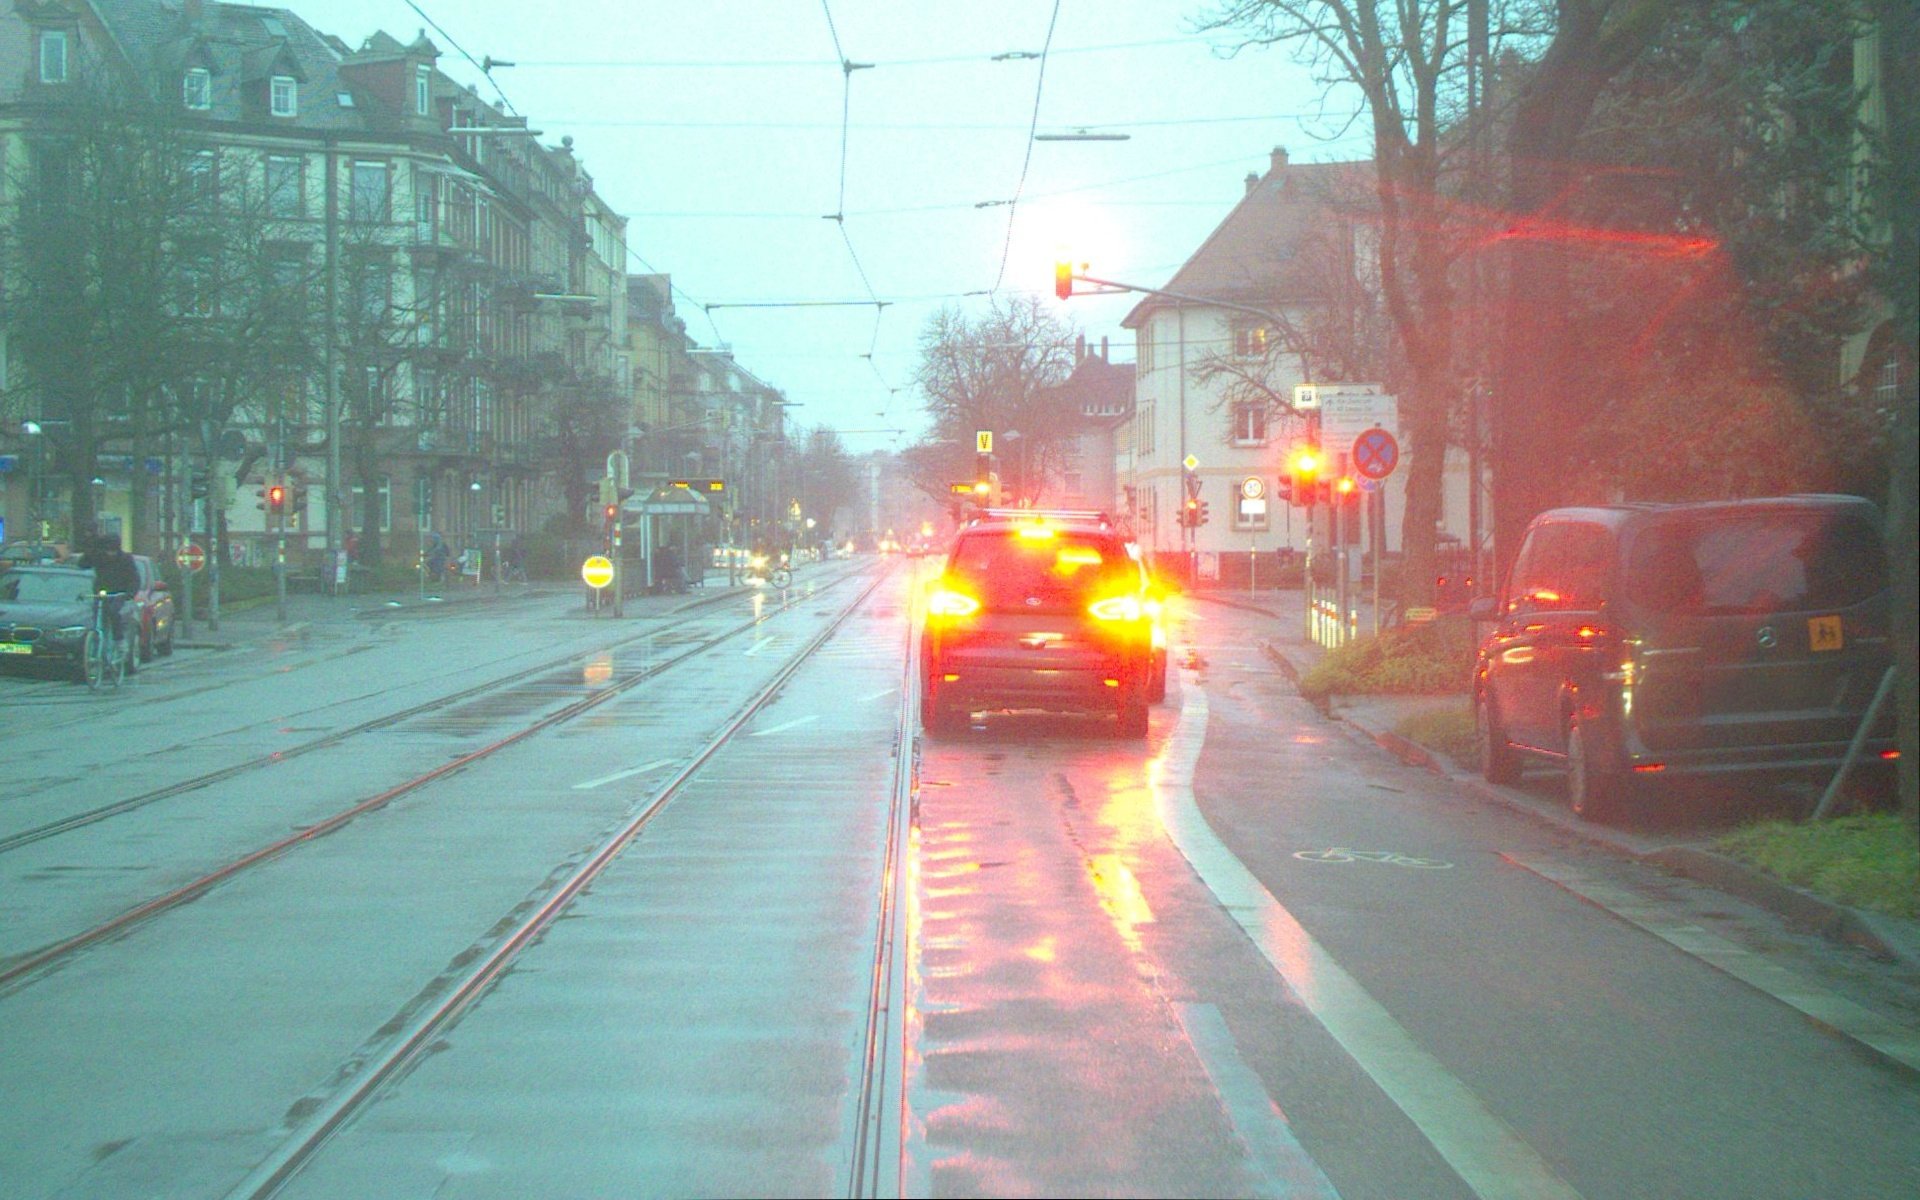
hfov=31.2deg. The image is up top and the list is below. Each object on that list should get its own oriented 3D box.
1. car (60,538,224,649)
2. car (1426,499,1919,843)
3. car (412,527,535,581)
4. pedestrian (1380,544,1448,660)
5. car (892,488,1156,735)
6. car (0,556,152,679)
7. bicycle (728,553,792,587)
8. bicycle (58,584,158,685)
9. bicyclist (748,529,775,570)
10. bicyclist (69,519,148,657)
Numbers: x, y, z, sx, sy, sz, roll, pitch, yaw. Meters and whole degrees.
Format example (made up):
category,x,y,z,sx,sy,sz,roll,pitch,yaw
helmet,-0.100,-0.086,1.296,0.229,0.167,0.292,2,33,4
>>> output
category,x,y,z,sx,sy,sz,roll,pitch,yaw
car,-12.218,-0.131,51.526,1.629,1.545,3.500,-1,2,-1
car,4.344,0.320,21.695,1.993,1.894,5.028,-1,2,-2
car,-16.149,-1.540,114.149,3.986,1.711,1.904,-1,2,-9
pedestrian,7.990,0.034,60.566,1.022,2.006,0.919,-1,2,-4
car,0.452,0.086,29.263,1.993,1.890,4.759,1,0,-2
car,-11.871,0.198,44.660,1.833,1.442,4.001,-1,2,-1
bicycle,-6.764,-1.012,116.390,2.103,1.129,0.557,-1,2,-14
bicycle,-10.056,0.393,40.629,0.716,1.106,2.065,-1,2,-2
bicyclist,-6.714,-1.697,116.393,0.822,1.371,0.557,-1,2,-14
bicyclist,-10.079,-0.151,40.719,0.716,1.597,0.931,-1,2,-2
